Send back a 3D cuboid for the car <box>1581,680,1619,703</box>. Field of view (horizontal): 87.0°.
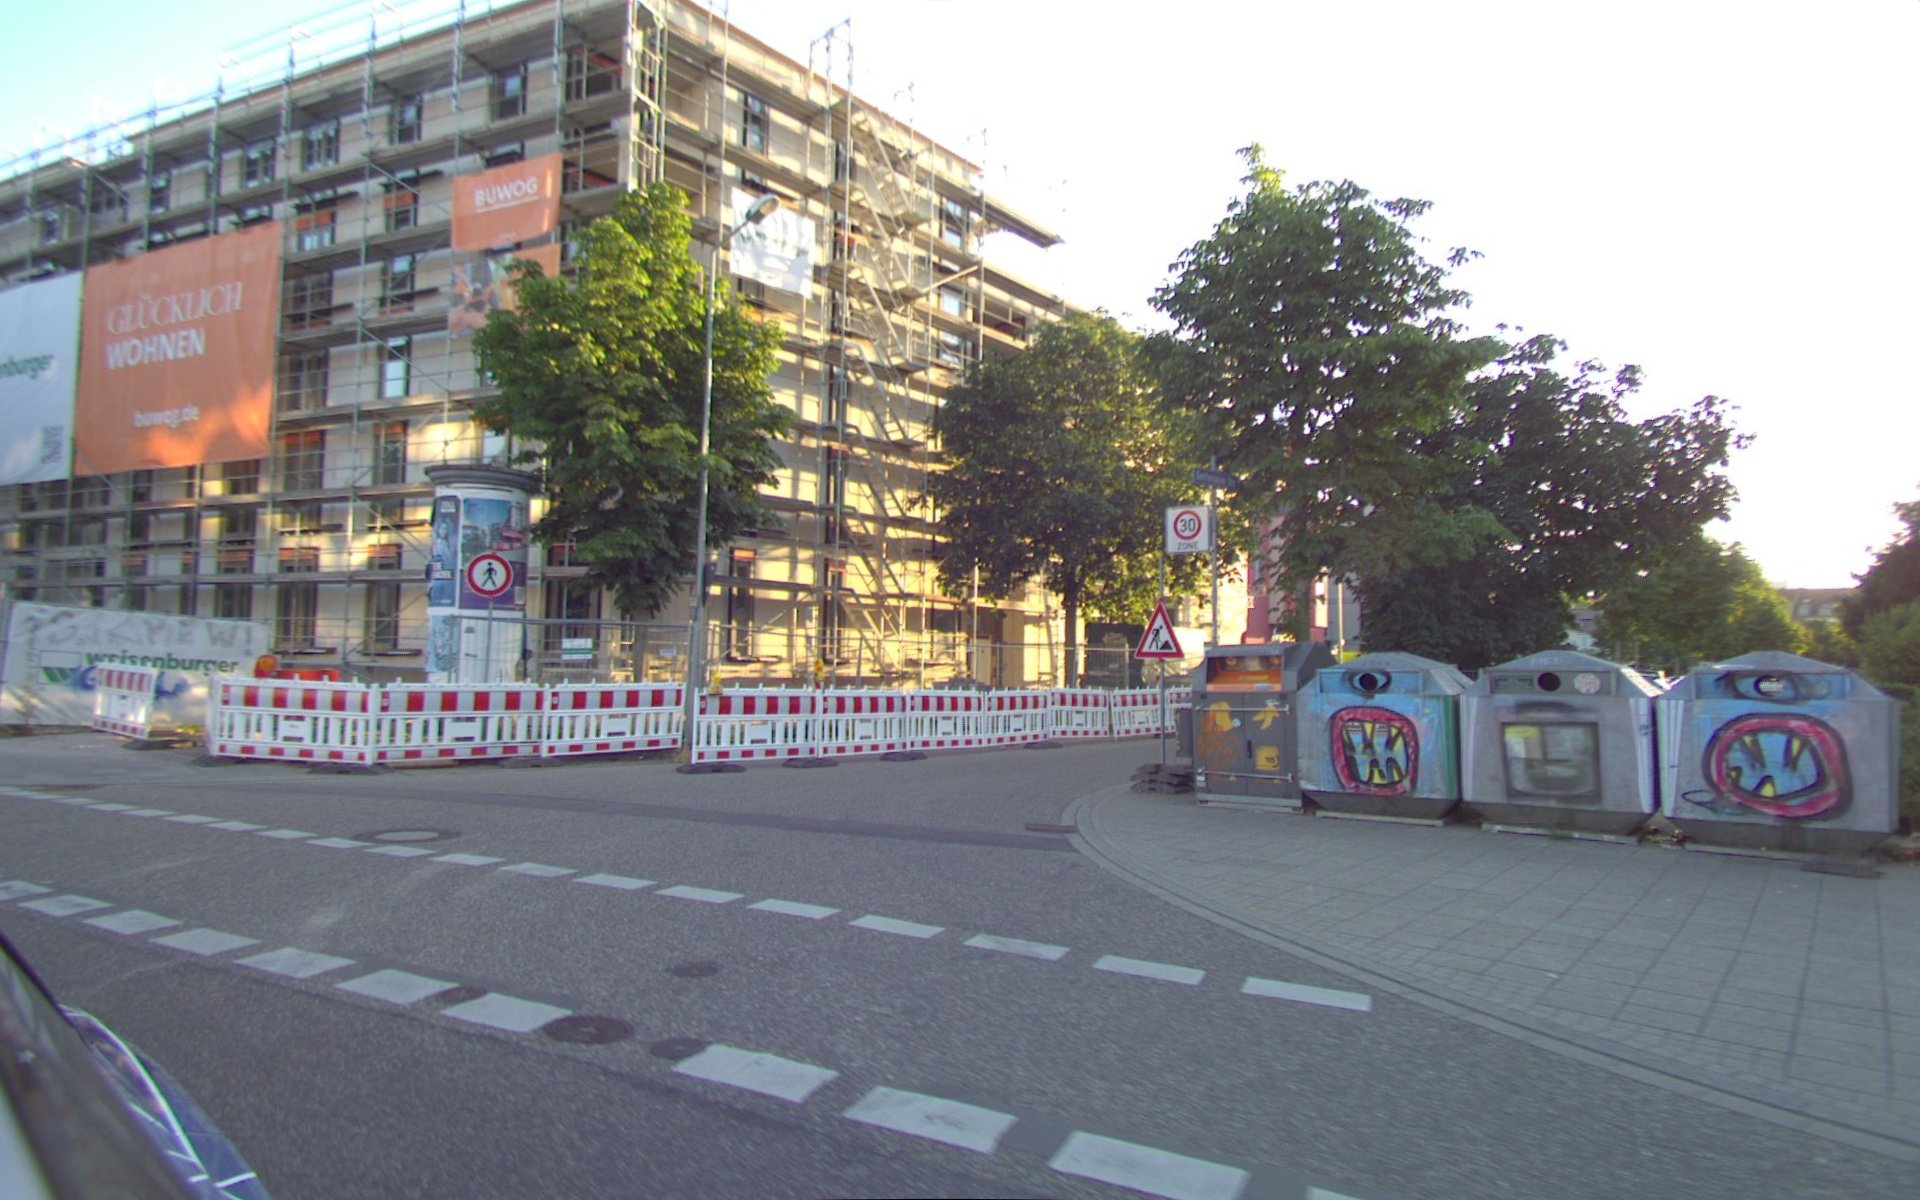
[{"bbox_3d":[42.863,6.120,67.739,1.618,1.481,3.944,-2,-5,39],"label":"car"}]

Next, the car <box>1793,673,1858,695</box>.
[{"bbox_3d":[87.617,8.504,102.508,1.970,2.086,4.795,5,-5,-43],"label":"car"}]

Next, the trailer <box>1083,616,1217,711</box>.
[{"bbox_3d":[5.627,1.884,29.594,2.000,2.559,4.127,-2,-5,42],"label":"trailer"}]
